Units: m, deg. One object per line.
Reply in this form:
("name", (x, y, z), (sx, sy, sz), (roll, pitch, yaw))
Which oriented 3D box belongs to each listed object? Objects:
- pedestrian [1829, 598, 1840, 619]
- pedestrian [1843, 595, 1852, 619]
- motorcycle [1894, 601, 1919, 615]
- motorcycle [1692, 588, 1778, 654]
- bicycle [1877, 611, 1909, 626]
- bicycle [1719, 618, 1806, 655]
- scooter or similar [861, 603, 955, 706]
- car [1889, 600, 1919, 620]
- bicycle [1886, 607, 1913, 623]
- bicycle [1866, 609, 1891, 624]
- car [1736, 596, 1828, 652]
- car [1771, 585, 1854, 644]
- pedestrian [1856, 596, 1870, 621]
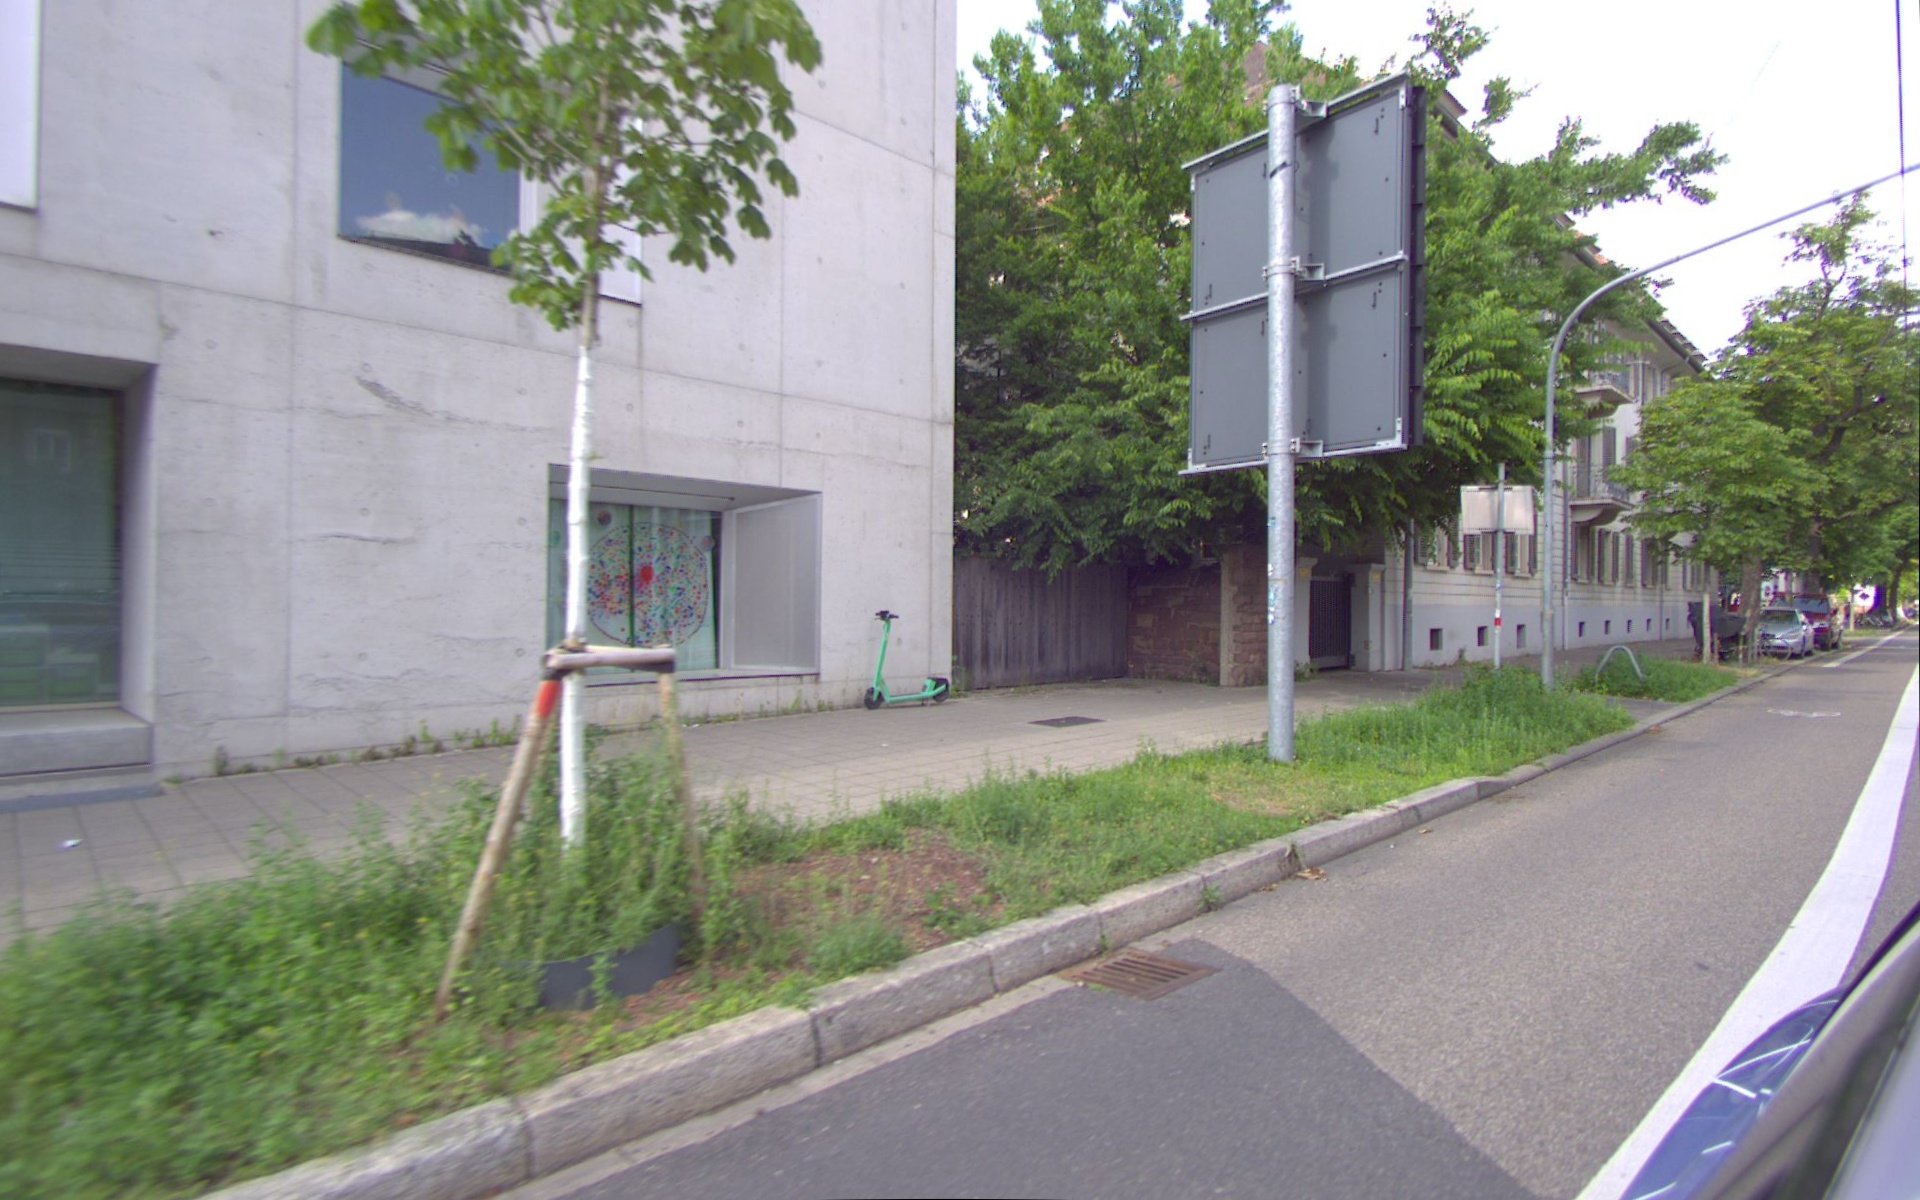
("pedestrian", (68.786, 0.687, 79.630), (0.581, 1.660, 0.960), (-1, -1, 45))
("pedestrian", (68.884, 0.547, 78.558), (0.504, 1.876, 0.676), (-1, -1, 45))
("motorcycle", (98.472, 0.831, 105.179), (0.795, 1.513, 2.070), (0, 0, 1))
("motorcycle", (19.189, 0.489, 25.048), (2.393, 1.561, 0.984), (0, 0, -34))
("bicycle", (67.836, 1.327, 73.601), (0.342, 1.084, 1.649), (1, -1, -41))
("bicycle", (21.742, 0.973, 27.439), (0.680, 0.914, 1.779), (1, 0, -41))
("scooter or similar", (-0.623, 0.641, 12.322), (1.125, 1.196, 0.323), (0, -1, -32))
("car", (71.243, 0.736, 76.325), (1.585, 1.463, 3.835), (0, -1, 44))
("bicycle", (74.229, 1.151, 79.975), (0.508, 1.236, 1.491), (0, 0, -38))
("bicycle", (64.065, 1.136, 70.560), (1.268, 1.080, 0.470), (0, -1, 45))
("car", (24.410, 0.665, 29.984), (1.707, 1.517, 4.712), (0, 0, 44))
("car", (30.248, 0.474, 35.868), (1.896, 1.965, 4.871), (0, 0, 44))
("pedestrian", (69.584, 0.655, 77.966), (0.753, 1.913, 0.872), (-1, -1, 45))
